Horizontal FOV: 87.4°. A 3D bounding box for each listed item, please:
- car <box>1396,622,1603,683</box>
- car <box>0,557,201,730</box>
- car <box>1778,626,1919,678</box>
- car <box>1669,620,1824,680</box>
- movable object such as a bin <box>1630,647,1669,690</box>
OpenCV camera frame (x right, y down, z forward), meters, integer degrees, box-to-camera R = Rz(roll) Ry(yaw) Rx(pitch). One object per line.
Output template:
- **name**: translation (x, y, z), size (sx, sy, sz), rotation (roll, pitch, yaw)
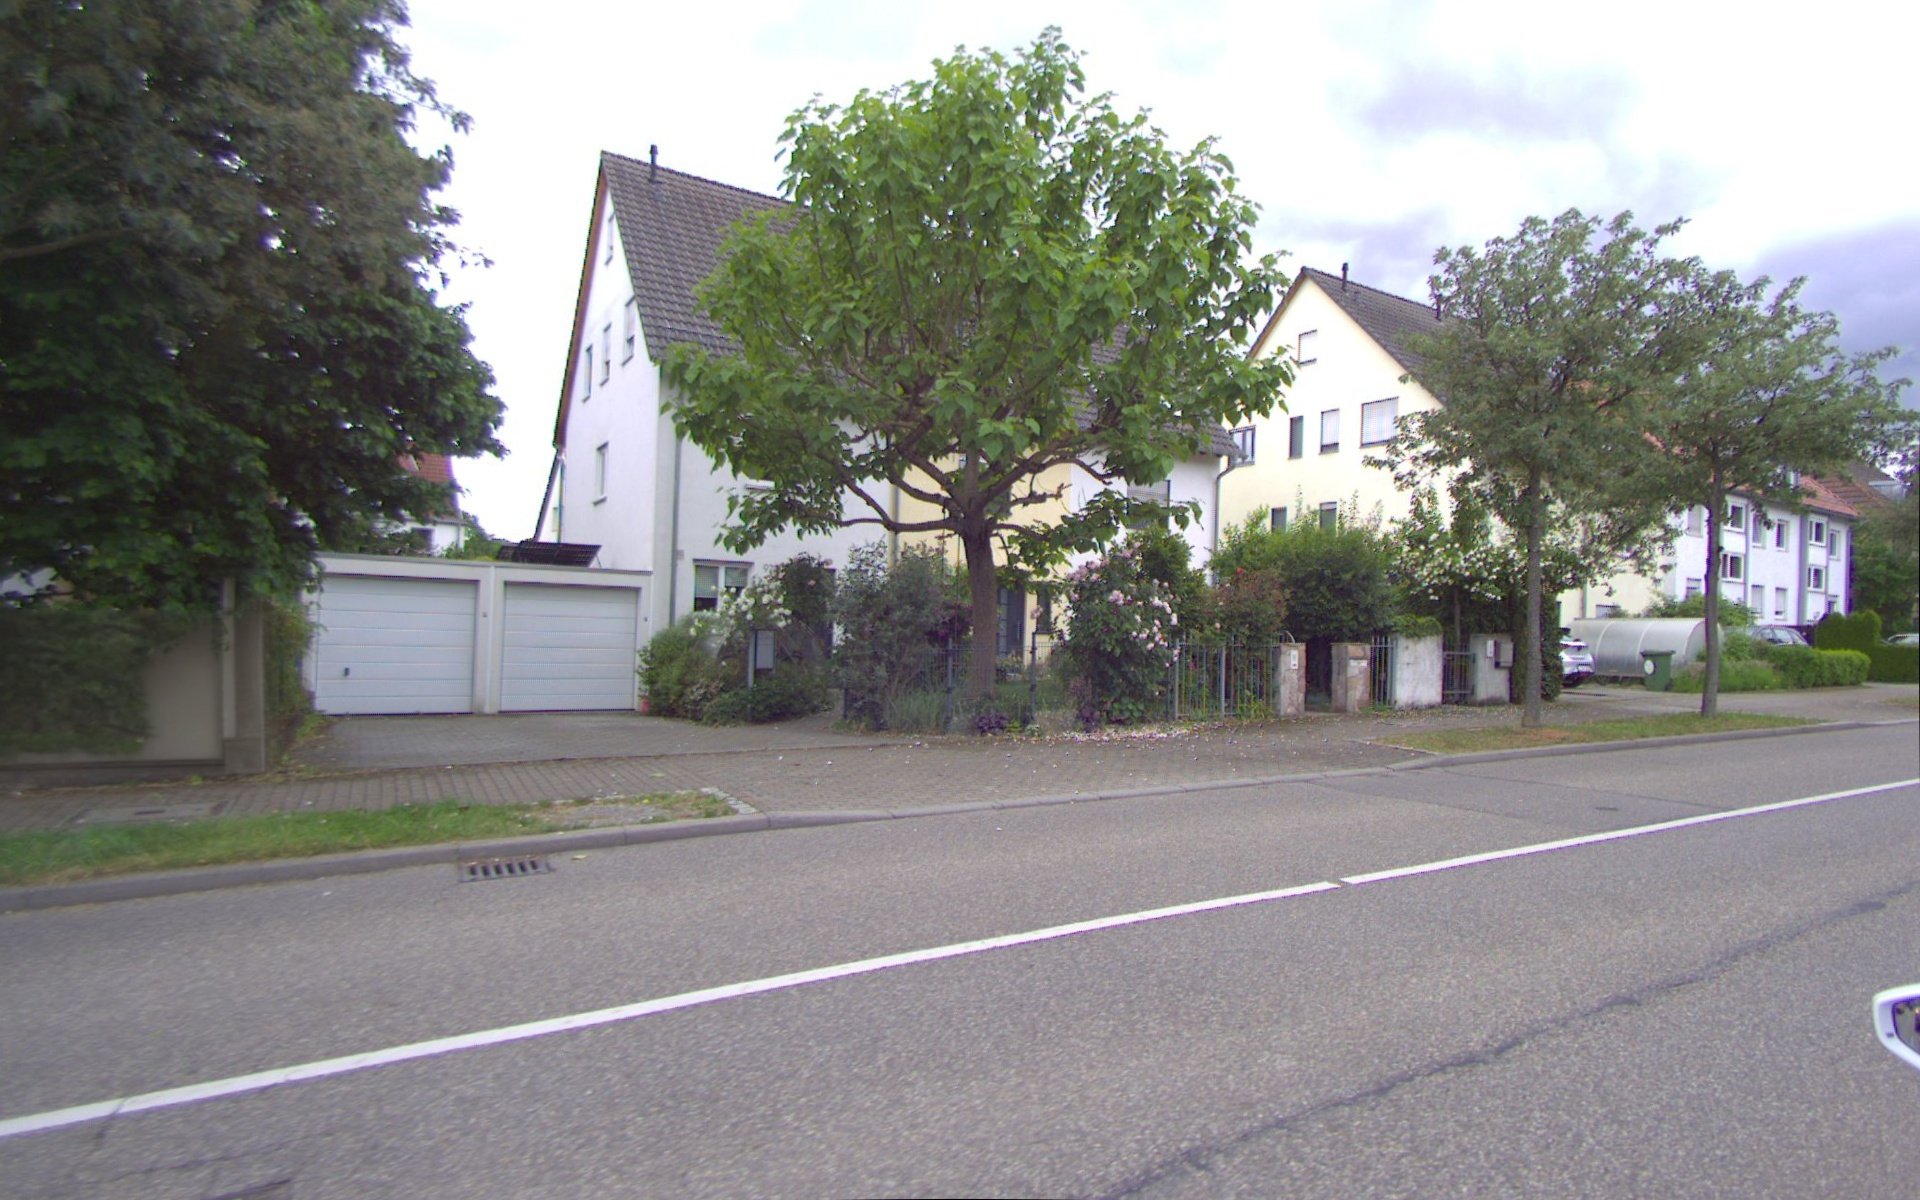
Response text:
- **car**: translation (12.781, 1.209, 24.026), size (1.738, 1.303, 4.039), rotation (2, -2, -35)
- **car**: translation (-10.085, 0.403, 9.440), size (4.571, 1.585, 1.795), rotation (2, -2, -35)
- **car**: translation (28.103, 1.613, 31.171), size (1.565, 1.355, 3.953), rotation (4, 0, -40)
- **car**: translation (21.402, 1.367, 27.335), size (3.950, 1.436, 1.869), rotation (3, -1, -28)
- **movable object such as a bin**: translation (15.416, 1.519, 22.466), size (0.535, 0.914, 0.579), rotation (2, -1, 13)
